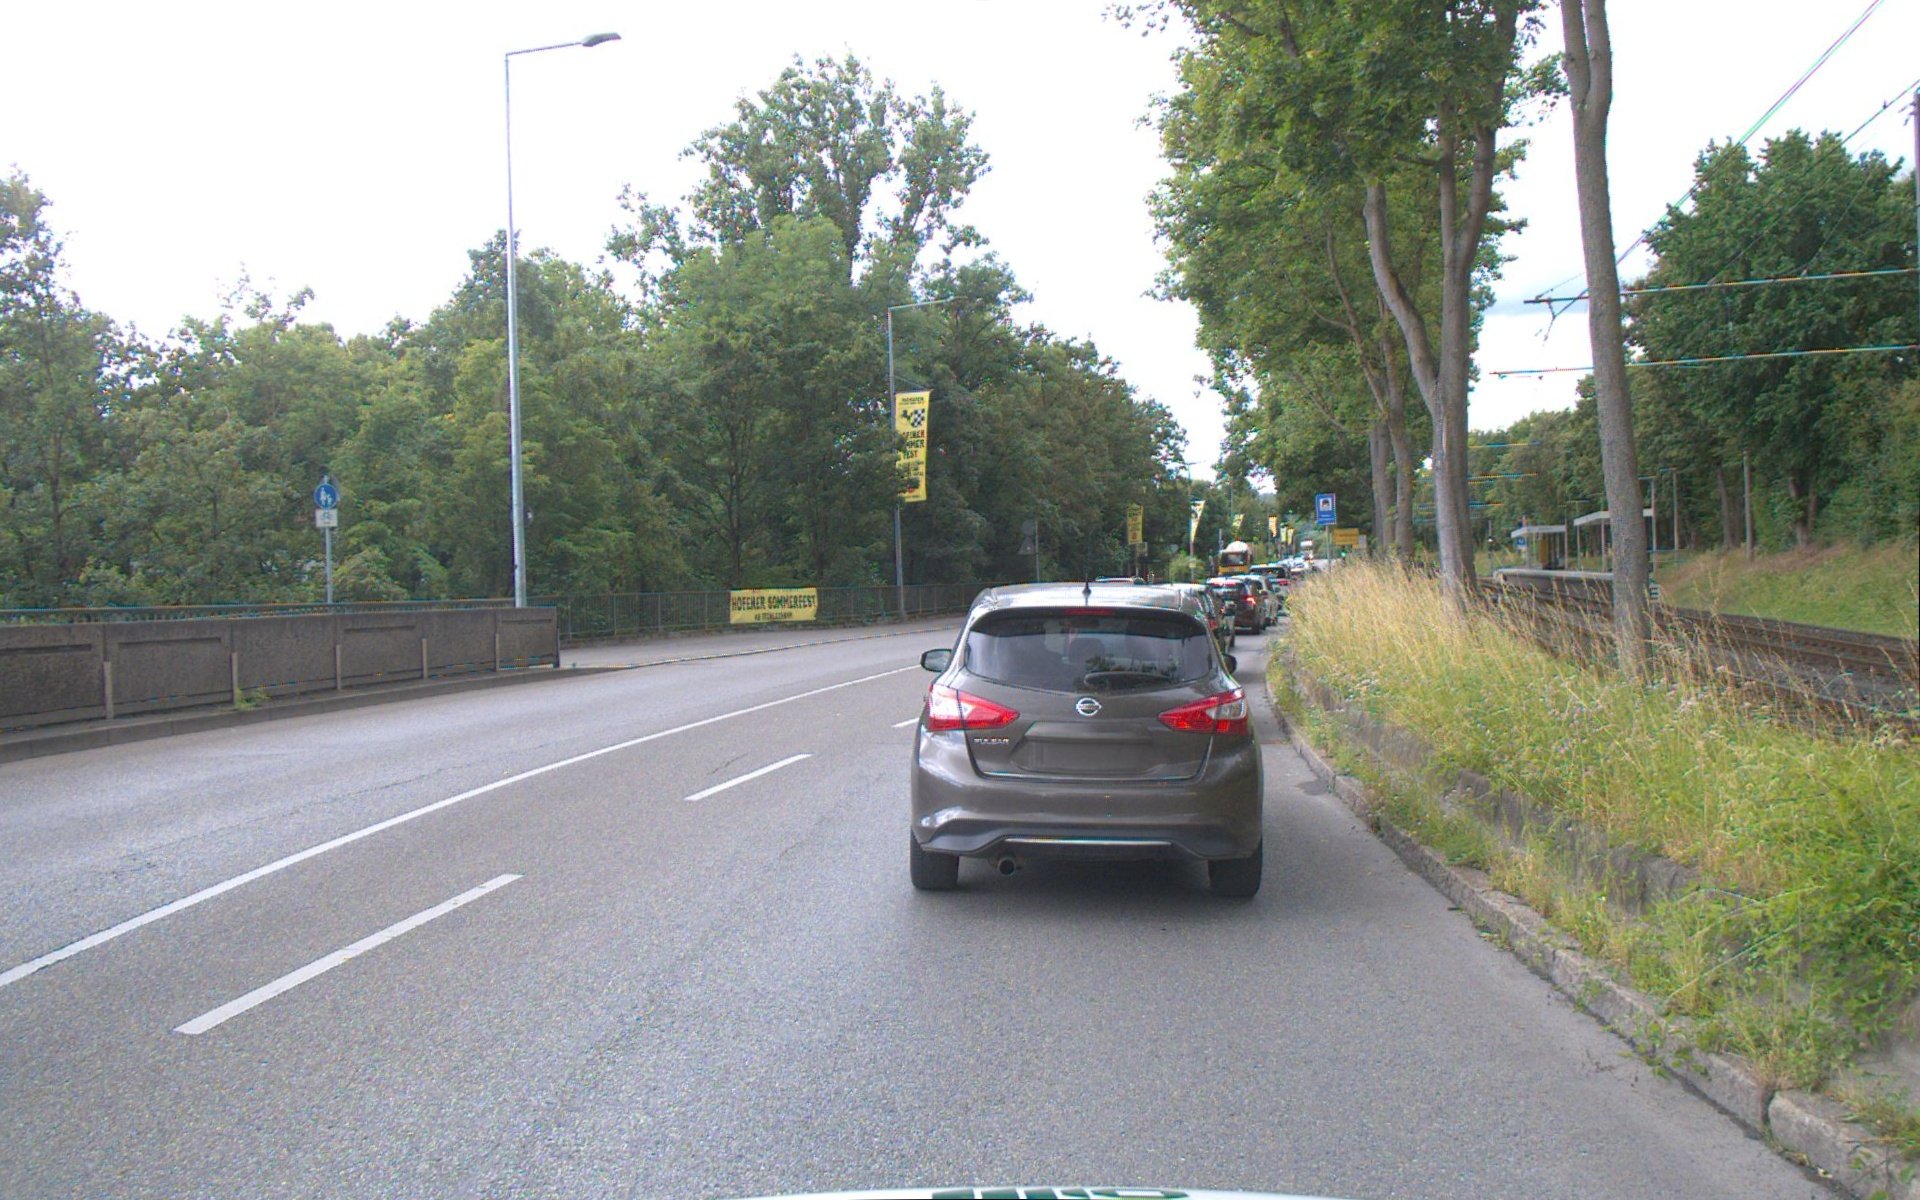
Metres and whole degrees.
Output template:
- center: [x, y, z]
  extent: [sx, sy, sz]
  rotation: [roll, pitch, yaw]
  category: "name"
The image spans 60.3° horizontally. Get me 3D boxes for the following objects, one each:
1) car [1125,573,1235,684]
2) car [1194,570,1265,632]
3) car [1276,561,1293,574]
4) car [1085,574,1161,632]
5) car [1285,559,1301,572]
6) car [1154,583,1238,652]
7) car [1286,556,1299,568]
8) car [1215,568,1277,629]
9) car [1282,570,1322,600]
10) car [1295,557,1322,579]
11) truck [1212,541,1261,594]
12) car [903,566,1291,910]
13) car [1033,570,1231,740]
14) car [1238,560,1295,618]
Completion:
- center: [3.487, 0.414, 25.967]
  extent: [1.544, 1.565, 4.003]
  rotation: [-2, 0, 9]
  category: "car"
- center: [7.216, 0.017, 44.163]
  extent: [1.766, 1.567, 4.003]
  rotation: [1, 0, 10]
  category: "car"
- center: [37.119, -3.713, 189.146]
  extent: [1.684, 1.467, 4.004]
  rotation: [-2, 1, 15]
  category: "car"
- center: [4.675, 0.098, 46.930]
  extent: [1.812, 1.512, 4.424]
  rotation: [-1, -1, 10]
  category: "car"
- center: [40.408, -4.150, 200.607]
  extent: [1.779, 1.488, 4.004]
  rotation: [-1, 1, 14]
  category: "car"
- center: [5.152, 0.353, 35.822]
  extent: [1.468, 1.388, 3.590]
  rotation: [-2, 0, 13]
  category: "car"
- center: [45.999, -5.250, 228.732]
  extent: [1.715, 1.445, 4.003]
  rotation: [-2, -2, 12]
  category: "car"
- center: [8.837, -0.001, 50.906]
  extent: [1.681, 1.723, 4.003]
  rotation: [-2, -2, 12]
  category: "car"
- center: [17.722, -0.767, 85.536]
  extent: [1.850, 1.470, 3.810]
  rotation: [-1, 0, 14]
  category: "car"
- center: [27.142, -2.479, 128.710]
  extent: [1.850, 1.682, 4.003]
  rotation: [-1, 0, 14]
  category: "car"
- center: [21.918, -2.546, 130.778]
  extent: [2.598, 4.007, 10.118]
  rotation: [0, 1, 16]
  category: "truck"
- center: [0.848, 0.630, 9.462]
  extent: [1.737, 1.520, 4.003]
  rotation: [0, 0, 7]
  category: "car"
- center: [1.846, 0.539, 17.671]
  extent: [1.852, 1.601, 4.003]
  rotation: [0, -1, 6]
  category: "car"
- center: [11.417, -0.406, 61.414]
  extent: [1.850, 2.049, 4.003]
  rotation: [-1, 0, 14]
  category: "car"
